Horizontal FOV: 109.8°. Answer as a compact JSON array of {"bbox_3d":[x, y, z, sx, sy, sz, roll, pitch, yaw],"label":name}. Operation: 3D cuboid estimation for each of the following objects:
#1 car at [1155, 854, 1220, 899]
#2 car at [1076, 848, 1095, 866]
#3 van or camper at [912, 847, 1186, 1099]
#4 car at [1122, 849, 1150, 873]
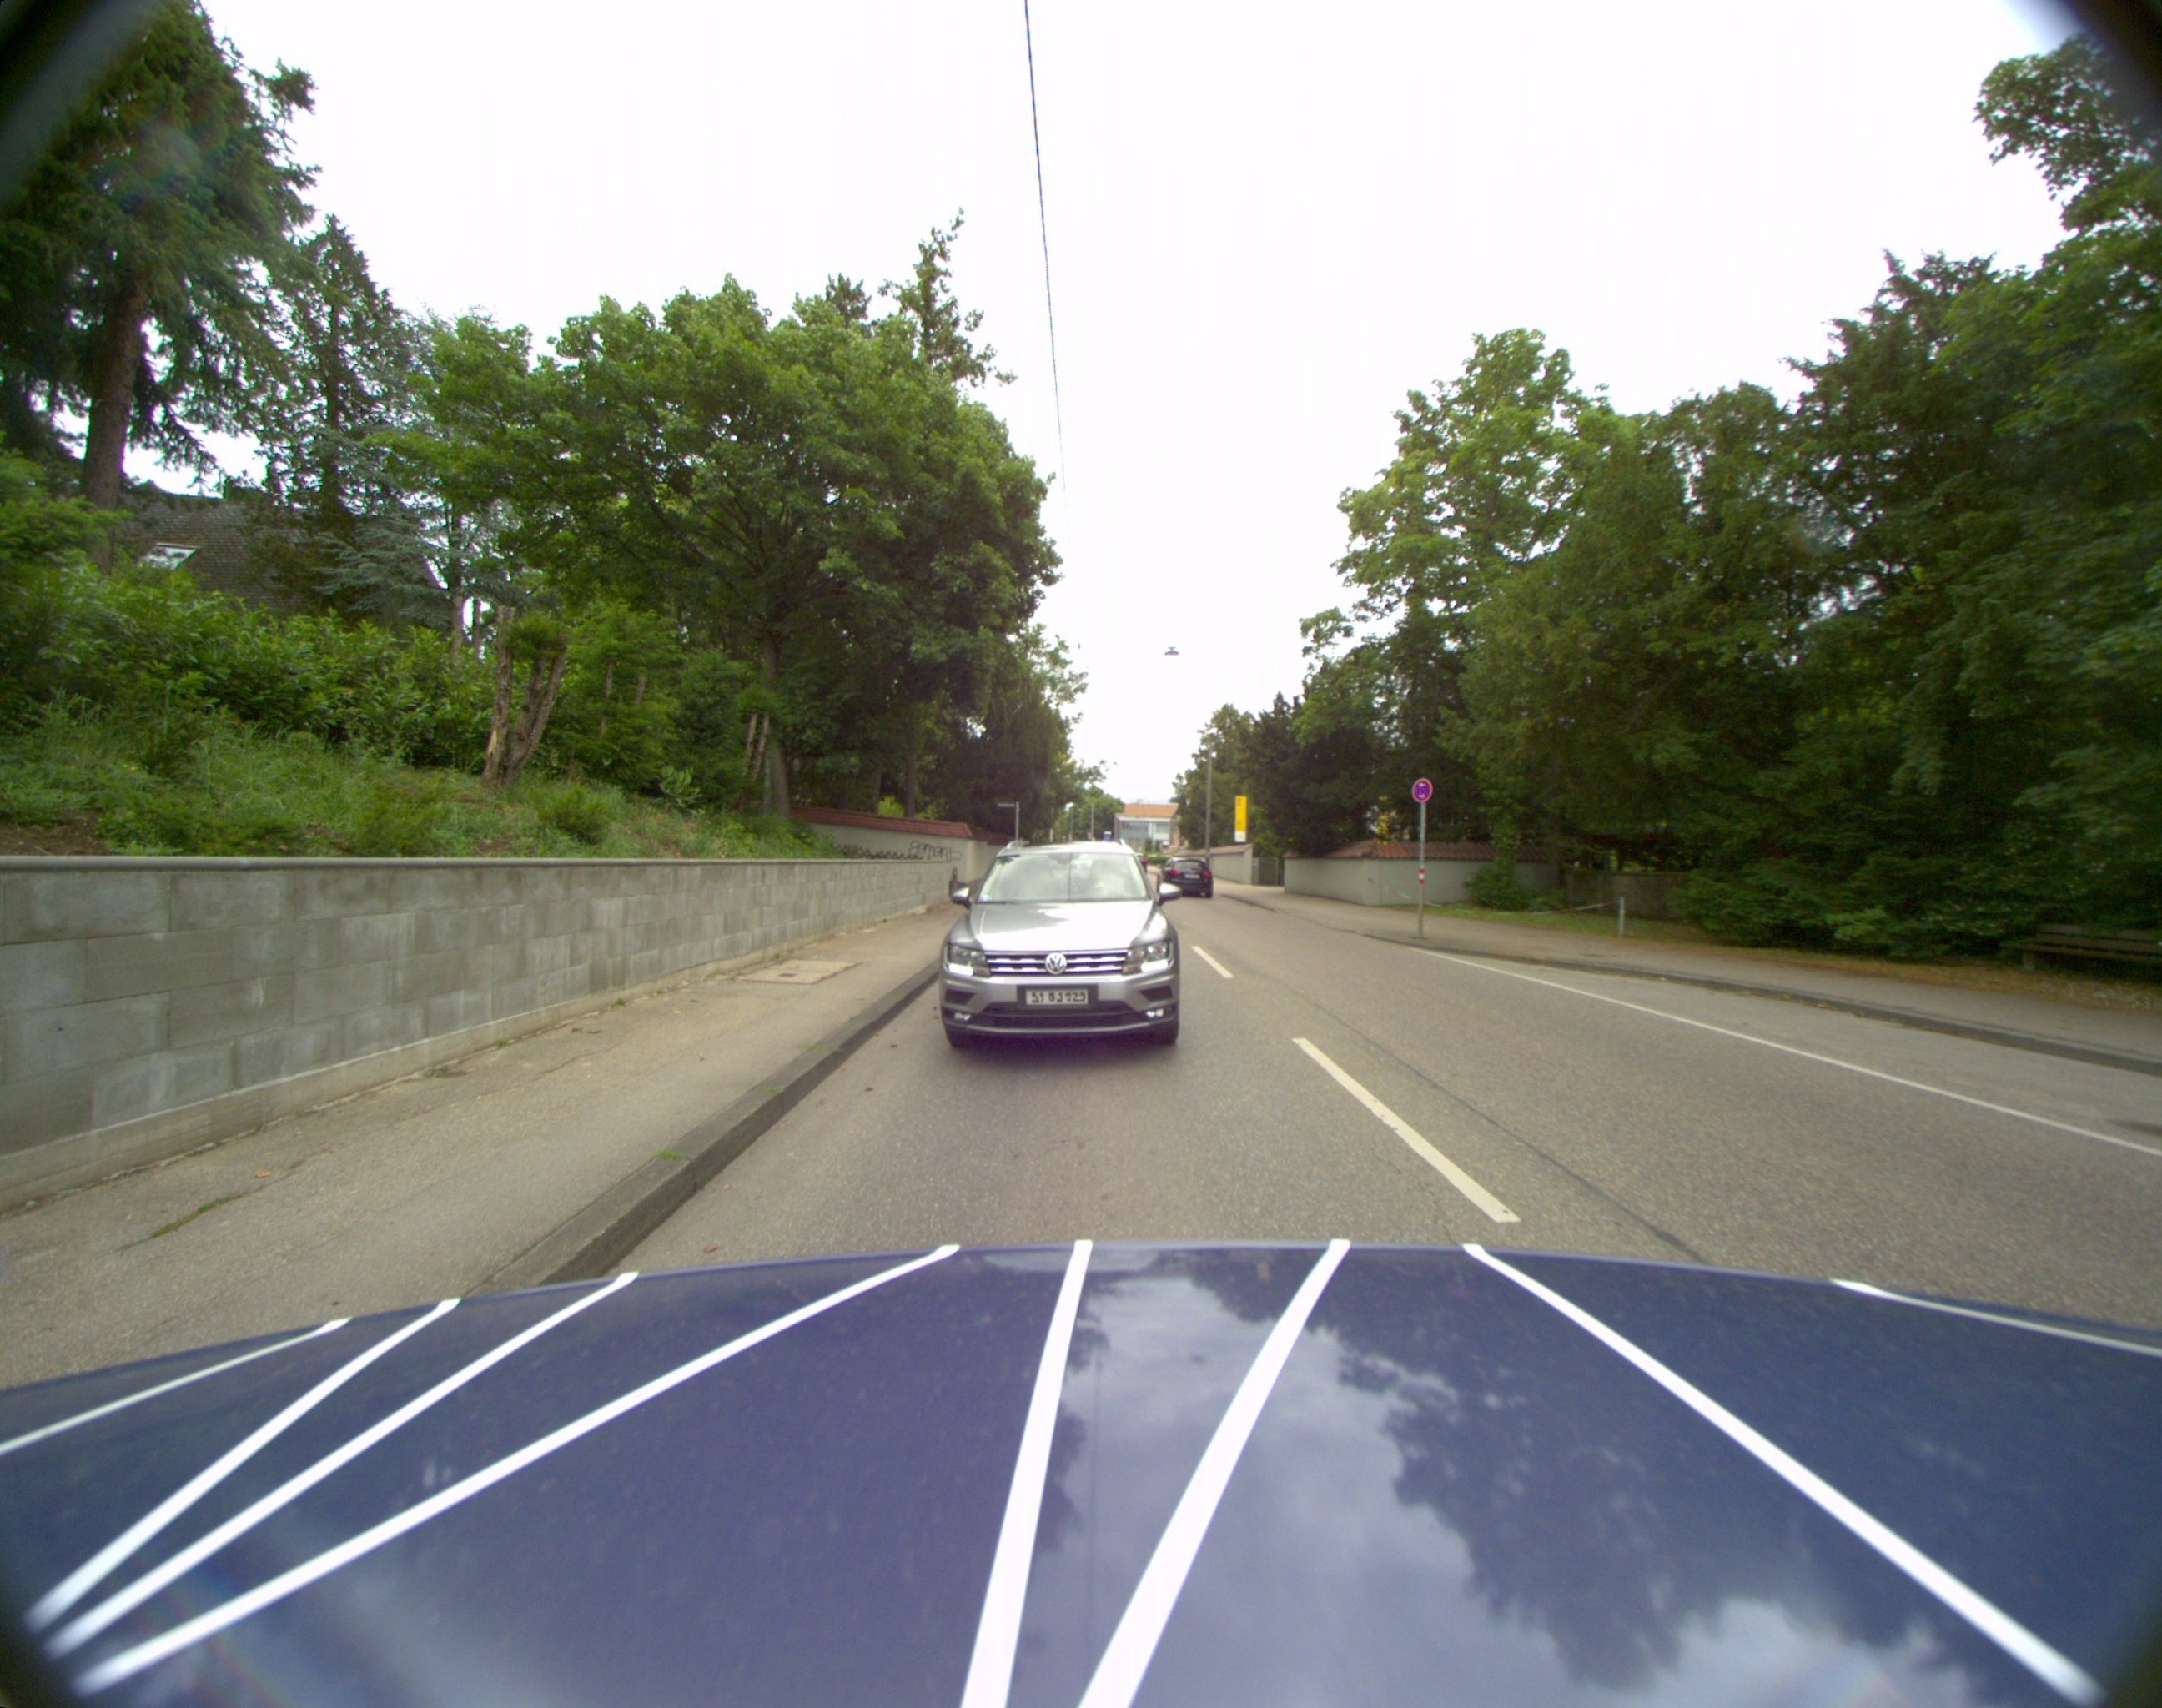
[{"bbox_3d":[3.918,0.794,28.704,1.864,1.445,4.110,3,0,1],"label":"car"},{"bbox_3d":[0.434,0.276,75.760,1.789,1.644,4.120,3,0,1],"label":"car"},{"bbox_3d":[-0.189,0.775,7.118,1.800,1.663,4.198,0,0,1],"label":"van or camper"},{"bbox_3d":[4.234,0.513,59.166,1.864,1.648,4.306,3,0,1],"label":"car"}]
